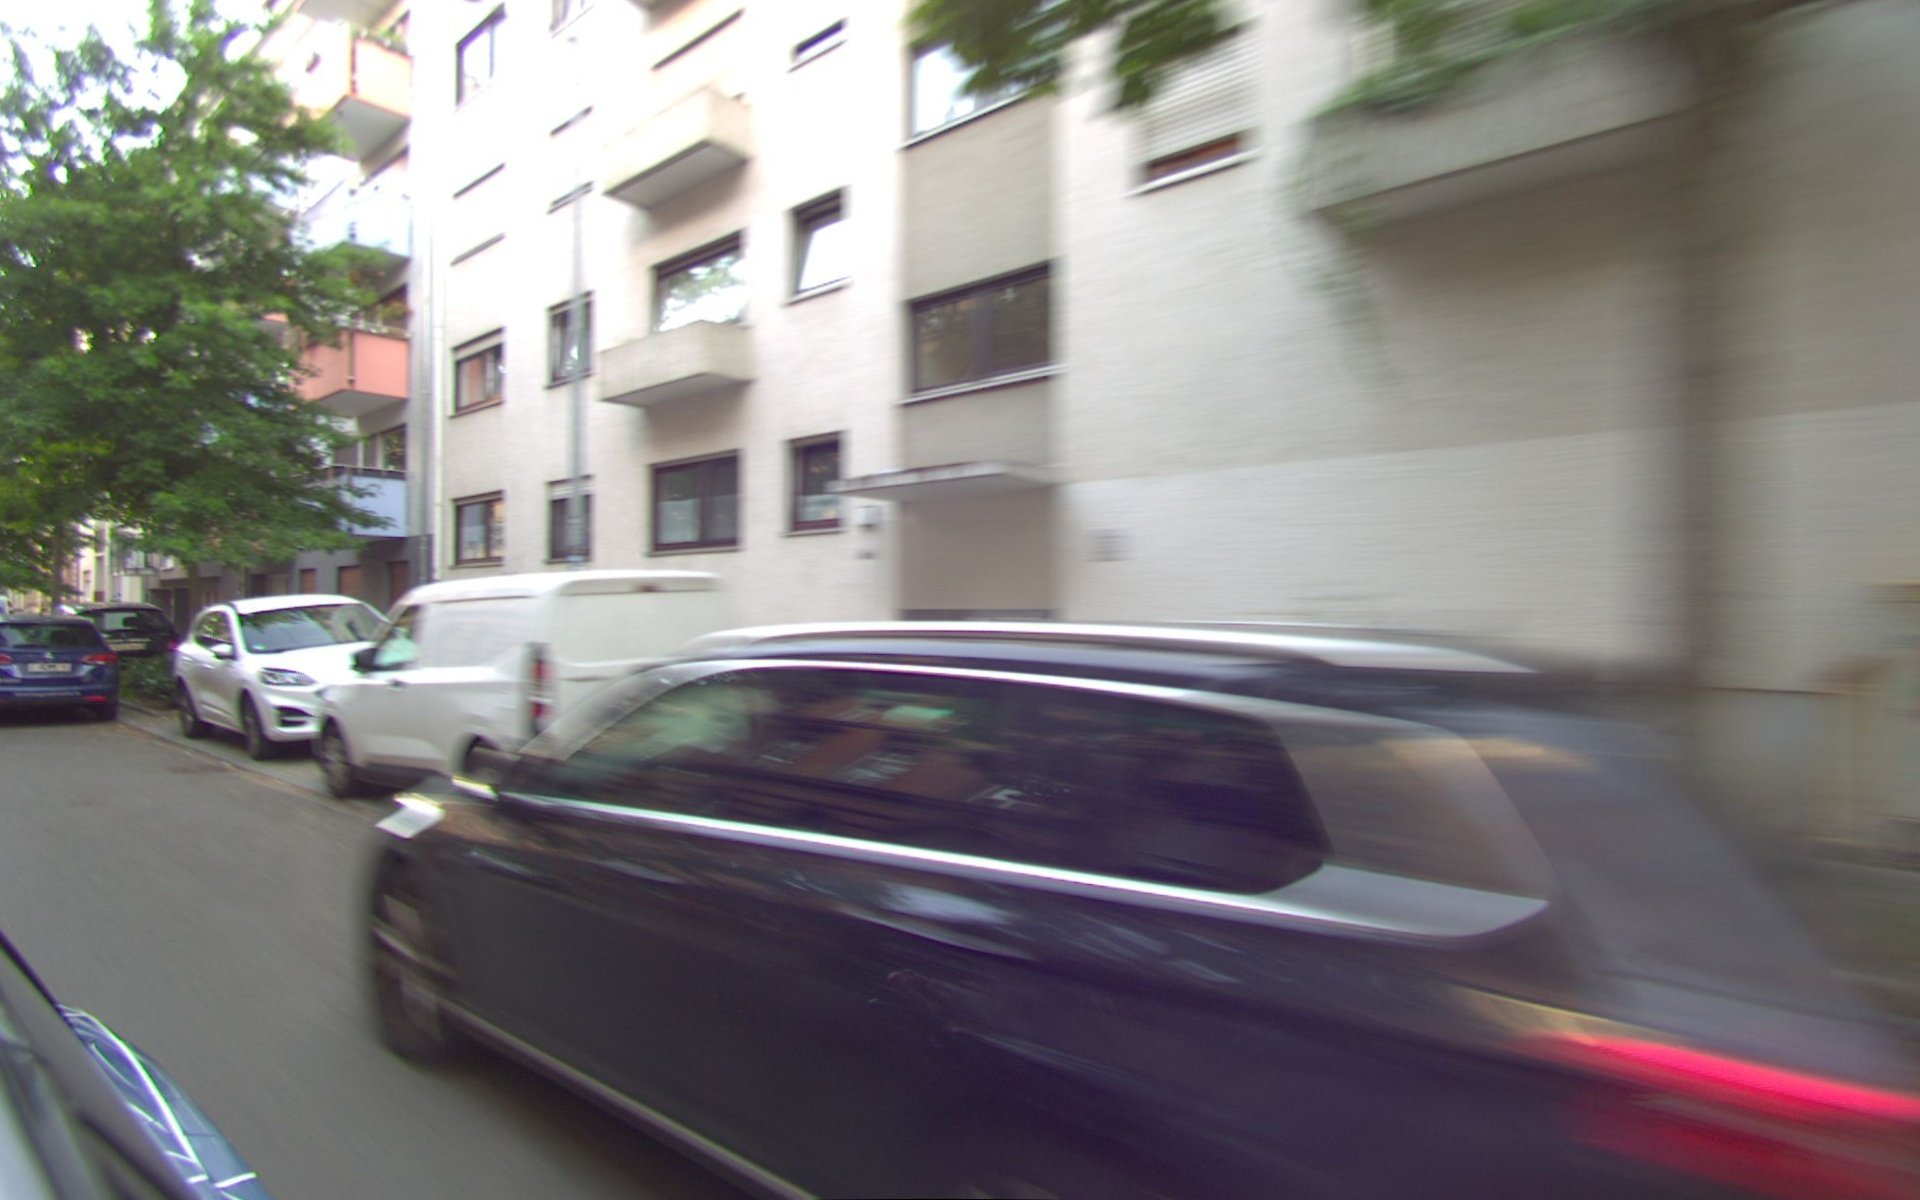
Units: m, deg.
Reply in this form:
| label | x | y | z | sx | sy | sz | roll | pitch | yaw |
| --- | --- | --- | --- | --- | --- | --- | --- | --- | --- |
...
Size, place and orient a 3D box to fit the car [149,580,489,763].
| label | x | y | z | sx | sy | sz | roll | pitch | yaw |
| --- | --- | --- | --- | --- | --- | --- | --- | --- | --- |
| car | -7.647 | 0.706 | 11.886 | 4.644 | 1.685 | 2.014 | -1 | 1 | 40 |

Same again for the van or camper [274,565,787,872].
| label | x | y | z | sx | sy | sz | roll | pitch | yaw |
| --- | --- | --- | --- | --- | --- | --- | --- | --- | --- |
| van or camper | -3.606 | 0.710 | 8.097 | 4.461 | 1.773 | 1.912 | -1 | 1 | 40 |

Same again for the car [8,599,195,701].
| label | x | y | z | sx | sy | sz | roll | pitch | yaw |
| --- | --- | --- | --- | --- | --- | --- | --- | --- | --- |
| car | -16.408 | 0.865 | 19.243 | 4.919 | 1.659 | 1.973 | -1 | 0 | 41 |

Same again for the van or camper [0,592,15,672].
| label | x | y | z | sx | sy | sz | roll | pitch | yaw |
| --- | --- | --- | --- | --- | --- | --- | --- | --- | --- |
| van or camper | -24.502 | 0.770 | 24.407 | 4.748 | 1.857 | 1.858 | -1 | -2 | 39 |

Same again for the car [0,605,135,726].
| label | x | y | z | sx | sy | sz | roll | pitch | yaw |
| --- | --- | --- | --- | --- | --- | --- | --- | --- | --- |
| car | -13.641 | 0.853 | 14.668 | 4.513 | 1.529 | 1.811 | -1 | -1 | 40 |

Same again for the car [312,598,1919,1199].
| label | x | y | z | sx | sy | sz | roll | pitch | yaw |
| --- | --- | --- | --- | --- | --- | --- | --- | --- | --- |
| car | -0.061 | 0.758 | 2.859 | 4.500 | 1.462 | 1.827 | -1 | -1 | 41 |
